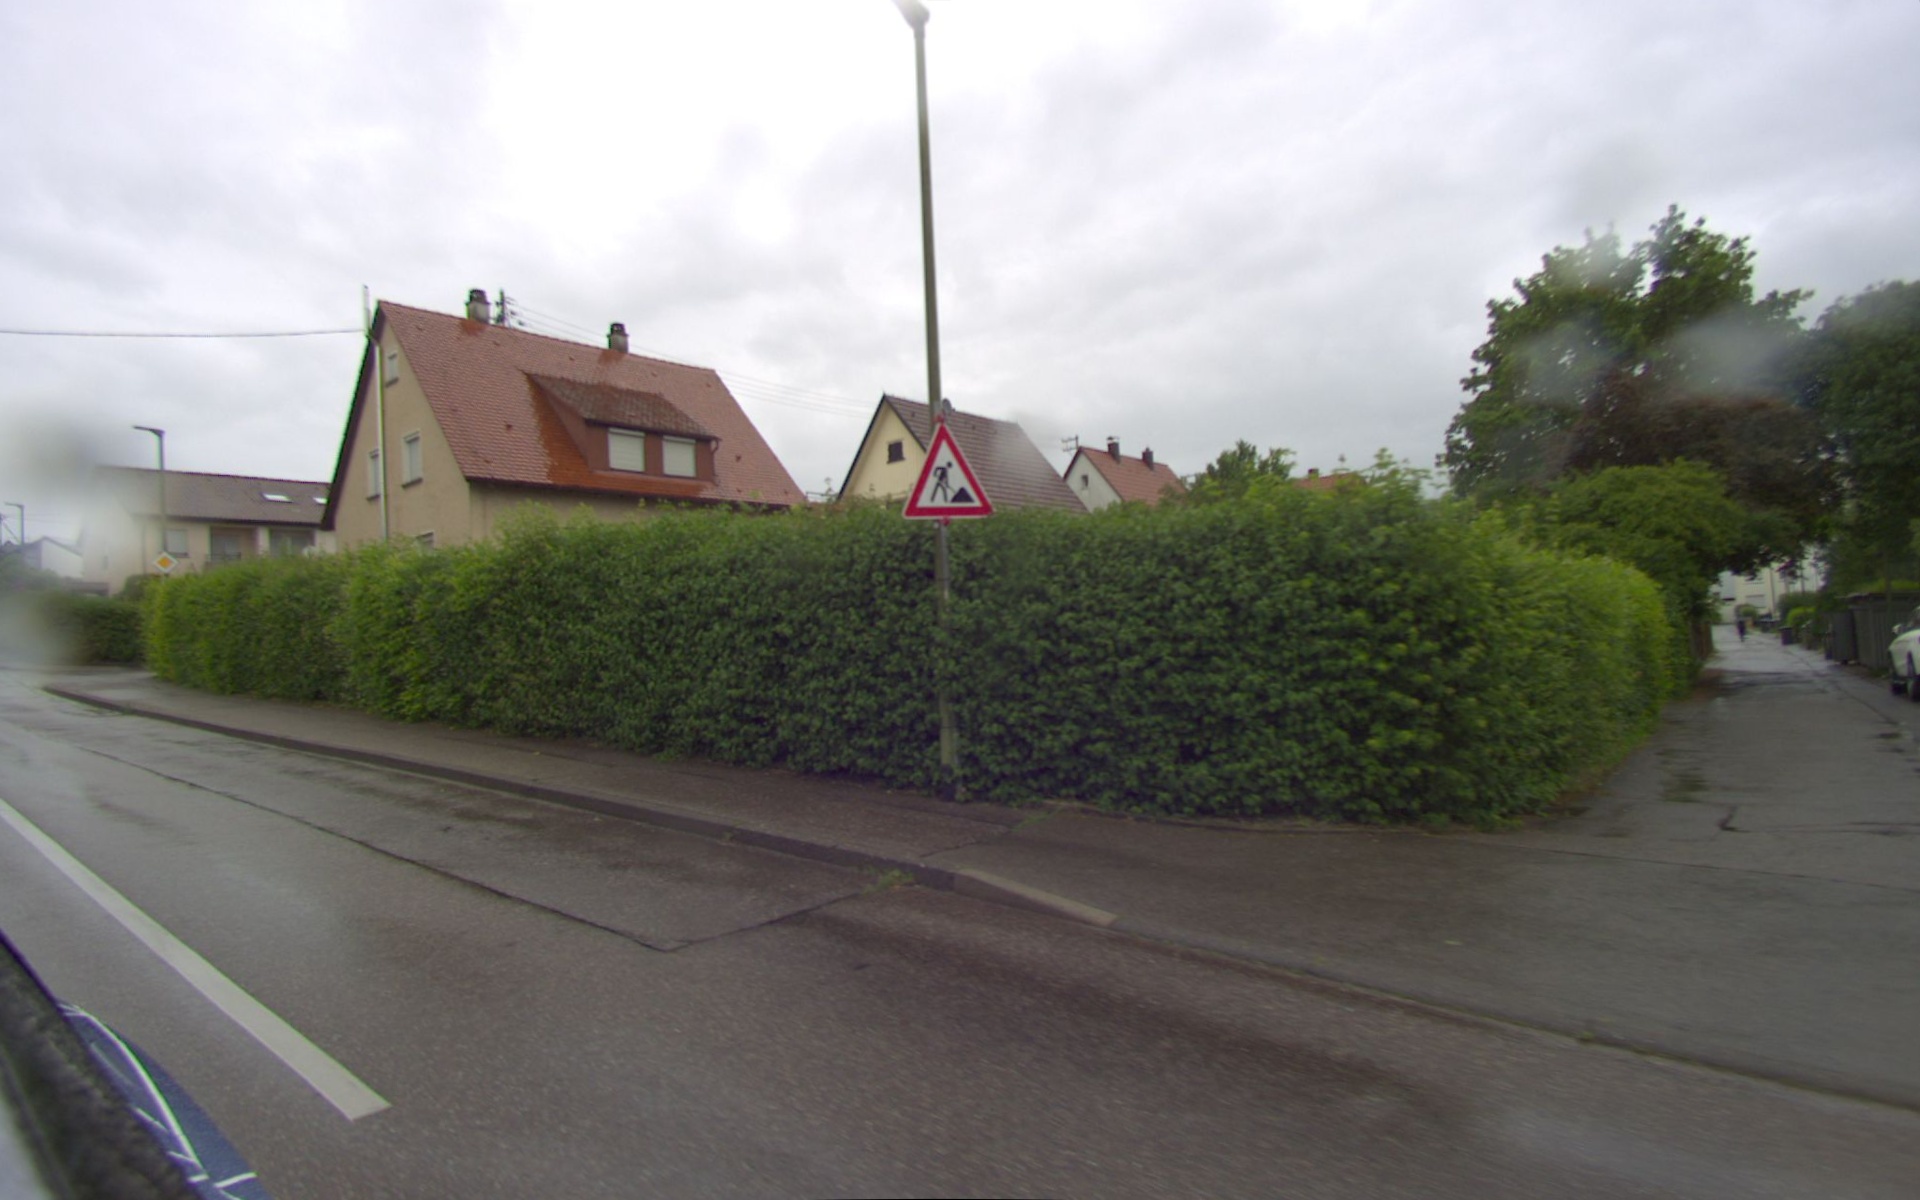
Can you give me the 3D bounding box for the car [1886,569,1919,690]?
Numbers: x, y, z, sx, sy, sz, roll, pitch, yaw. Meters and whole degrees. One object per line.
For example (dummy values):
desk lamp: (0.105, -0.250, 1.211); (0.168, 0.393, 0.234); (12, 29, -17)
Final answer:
car: (17.789, 0.516, 17.570); (2.200, 1.980, 3.947); (-2, -3, 39)
